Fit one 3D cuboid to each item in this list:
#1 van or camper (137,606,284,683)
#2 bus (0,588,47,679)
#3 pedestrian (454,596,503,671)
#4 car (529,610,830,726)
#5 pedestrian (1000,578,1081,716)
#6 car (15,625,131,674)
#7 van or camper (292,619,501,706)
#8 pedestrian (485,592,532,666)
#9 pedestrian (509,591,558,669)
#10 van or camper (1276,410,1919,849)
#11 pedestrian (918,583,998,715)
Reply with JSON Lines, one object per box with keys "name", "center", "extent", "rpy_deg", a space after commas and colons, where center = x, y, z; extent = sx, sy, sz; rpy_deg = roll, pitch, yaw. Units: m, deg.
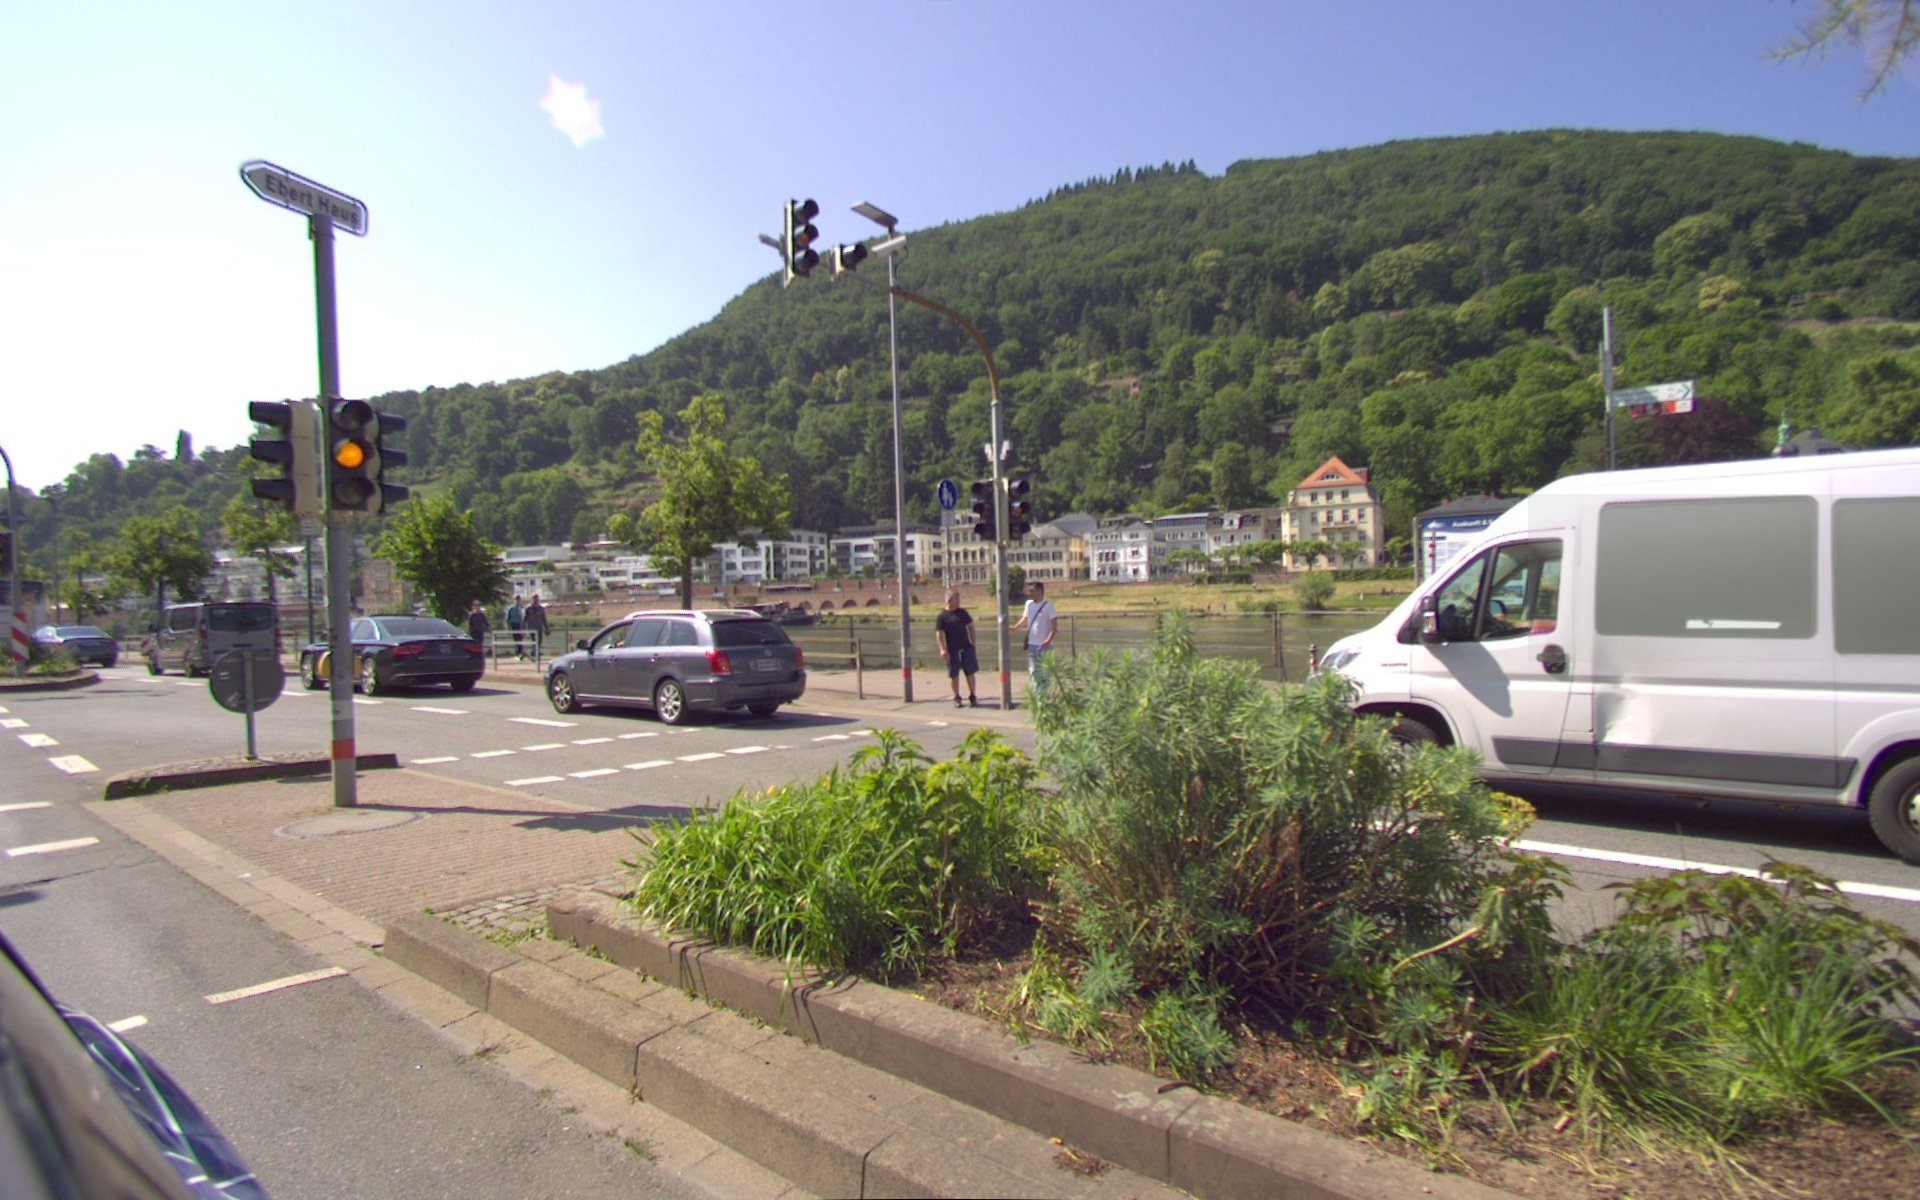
{"name": "van or camper", "center": [-20.420, 1.184, 27.494], "extent": [5.173, 1.887, 1.974], "rpy_deg": [-2, -1, 39]}
{"name": "bus", "center": [-43.112, 1.434, 43.183], "extent": [12.937, 3.591, 2.612], "rpy_deg": [-1, 0, 32]}
{"name": "pedestrian", "center": [-12.219, 0.847, 25.680], "extent": [0.693, 1.817, 0.756], "rpy_deg": [-2, 2, 32]}
{"name": "car", "center": [-4.148, 0.918, 14.597], "extent": [4.566, 1.419, 1.932], "rpy_deg": [-2, -3, 40]}
{"name": "pedestrian", "center": [1.117, 0.639, 13.959], "extent": [0.762, 1.792, 0.689], "rpy_deg": [-2, 5, 32]}
{"name": "car", "center": [-31.331, 1.728, 35.713], "extent": [5.146, 1.611, 1.976], "rpy_deg": [-2, -3, 36]}
{"name": "van or camper", "center": [-11.222, 1.154, 19.987], "extent": [5.061, 1.488, 1.973], "rpy_deg": [-1, -1, 40]}
{"name": "pedestrian", "center": [-11.841, 0.759, 26.552], "extent": [0.693, 1.871, 0.756], "rpy_deg": [-2, 2, 32]}
{"name": "pedestrian", "center": [-10.648, 0.749, 25.285], "extent": [0.693, 1.871, 0.756], "rpy_deg": [-2, 2, 32]}
{"name": "van or camper", "center": [5.249, 0.185, 7.057], "extent": [5.486, 2.468, 1.975], "rpy_deg": [-1, -1, 38]}
{"name": "pedestrian", "center": [-0.024, 0.692, 14.575], "extent": [0.762, 1.792, 0.689], "rpy_deg": [-2, 5, 32]}
